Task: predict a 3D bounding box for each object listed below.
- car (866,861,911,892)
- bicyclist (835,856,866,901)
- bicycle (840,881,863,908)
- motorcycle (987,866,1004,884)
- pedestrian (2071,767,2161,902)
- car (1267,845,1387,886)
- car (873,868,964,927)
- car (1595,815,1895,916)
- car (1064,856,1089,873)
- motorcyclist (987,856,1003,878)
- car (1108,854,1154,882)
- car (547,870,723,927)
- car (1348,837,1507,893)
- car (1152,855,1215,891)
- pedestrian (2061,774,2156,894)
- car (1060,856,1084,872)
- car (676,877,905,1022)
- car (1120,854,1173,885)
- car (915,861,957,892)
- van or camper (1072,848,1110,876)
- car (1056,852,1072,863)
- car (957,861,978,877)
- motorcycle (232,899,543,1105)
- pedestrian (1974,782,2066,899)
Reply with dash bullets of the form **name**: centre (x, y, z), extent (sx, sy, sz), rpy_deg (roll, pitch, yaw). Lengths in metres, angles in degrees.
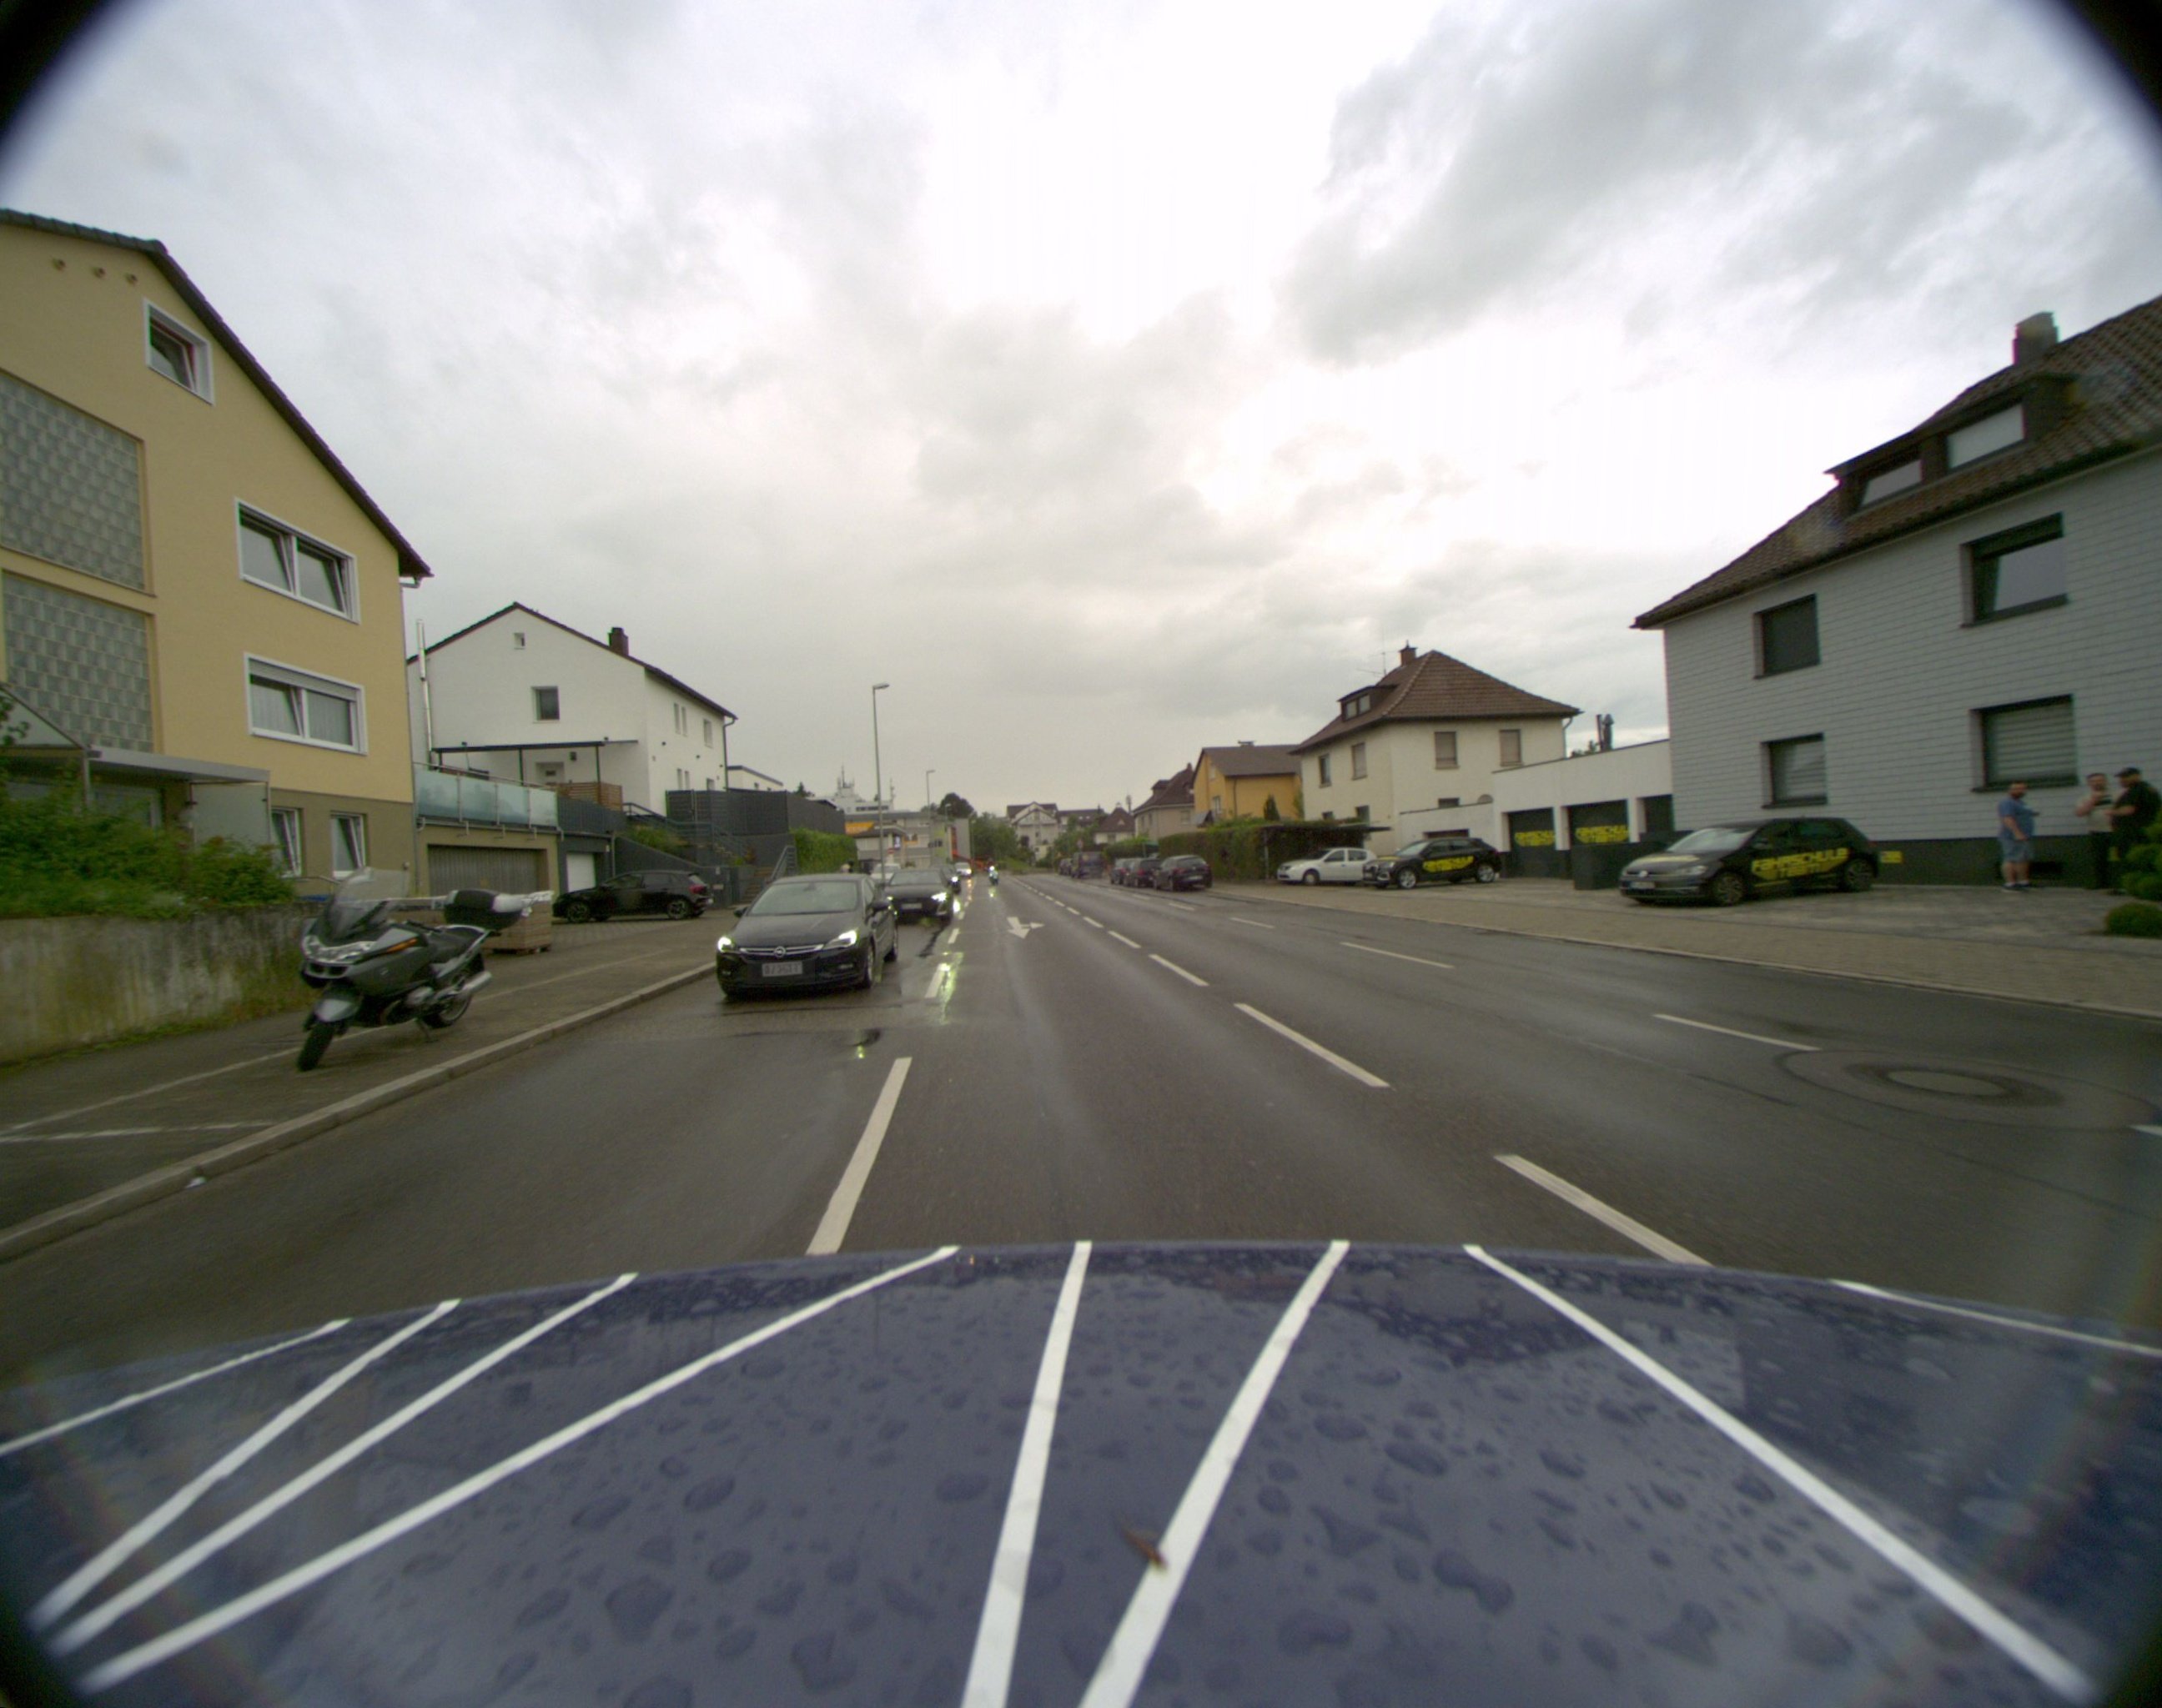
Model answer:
- **car**: centre (-10.343, 1.177, 41.003), extent (1.738, 1.481, 3.998), rpy_deg (-2, 0, -6)
- **bicyclist**: centre (-8.652, 0.899, 28.510), extent (0.809, 1.633, 0.906), rpy_deg (-2, 1, 3)
- **bicycle**: centre (-8.566, 1.511, 28.450), extent (0.734, 0.889, 1.927), rpy_deg (-2, 0, -15)
- **motorcycle**: centre (-5.700, 1.413, 50.676), extent (0.944, 1.101, 2.405), rpy_deg (-2, 0, -4)
- **pedestrian**: centre (14.528, -0.268, 10.515), extent (0.652, 1.776, 0.648), rpy_deg (-5, 0, 18)
- **car**: centre (9.630, 0.475, 29.865), extent (4.114, 1.475, 1.838), rpy_deg (2, -1, -13)
- **car**: centre (-4.427, 1.158, 21.343), extent (1.911, 1.389, 4.856), rpy_deg (-2, -2, -6)
- **car**: centre (12.075, 0.185, 13.975), extent (3.999, 1.412, 1.883), rpy_deg (-5, 1, -6)
- **car**: centre (-0.450, 0.963, 69.518), extent (1.889, 1.477, 3.998), rpy_deg (-2, 0, -6)
- **motorcyclist**: centre (-5.730, 0.864, 50.713), extent (0.953, 1.413, 0.992), rpy_deg (-2, 1, -4)
- **car**: centre (2.823, 0.770, 44.033), extent (1.810, 1.505, 3.997), rpy_deg (-2, 0, -9)
- **car**: centre (-12.691, 1.231, 21.874), extent (4.001, 1.395, 1.672), rpy_deg (-2, 0, -13)
- **car**: centre (10.892, 0.320, 24.046), extent (4.111, 1.412, 1.883), rpy_deg (-4, 1, -6)
- **car**: centre (4.375, 0.790, 32.927), extent (1.810, 1.407, 3.998), rpy_deg (-2, 0, -6)
- **pedestrian**: centre (15.347, -0.290, 11.354), extent (0.588, 1.698, 0.561), rpy_deg (-6, 1, -8)
- **car**: centre (-0.943, 0.921, 73.951), extent (1.890, 1.477, 3.997), rpy_deg (-2, 0, -7)
- **car**: centre (-3.609, 1.095, 10.245), extent (1.841, 1.390, 3.998), rpy_deg (-2, 0, -6)
- **car**: centre (3.279, 0.756, 38.776), extent (1.810, 1.407, 3.997), rpy_deg (-2, 0, -9)
- **car**: centre (-7.703, 1.257, 40.769), extent (1.841, 1.447, 4.001), rpy_deg (-2, -4, -6)
- **van or camper**: centre (0.687, 0.573, 58.607), extent (2.191, 2.002, 5.130), rpy_deg (-2, 1, -7)
- **car**: centre (-2.565, 0.535, 114.534), extent (1.999, 1.565, 3.997), rpy_deg (-2, 1, -6)
- **car**: centre (-10.793, 1.413, 72.341), extent (1.842, 1.472, 3.998), rpy_deg (-2, -1, -8)
- **motorcycle**: centre (-5.862, 1.136, 6.710), extent (0.694, 1.317, 2.477), rpy_deg (-2, 0, -7)
- **pedestrian**: centre (14.683, -0.209, 11.894), extent (0.447, 1.743, 0.689), rpy_deg (-6, 1, -5)
